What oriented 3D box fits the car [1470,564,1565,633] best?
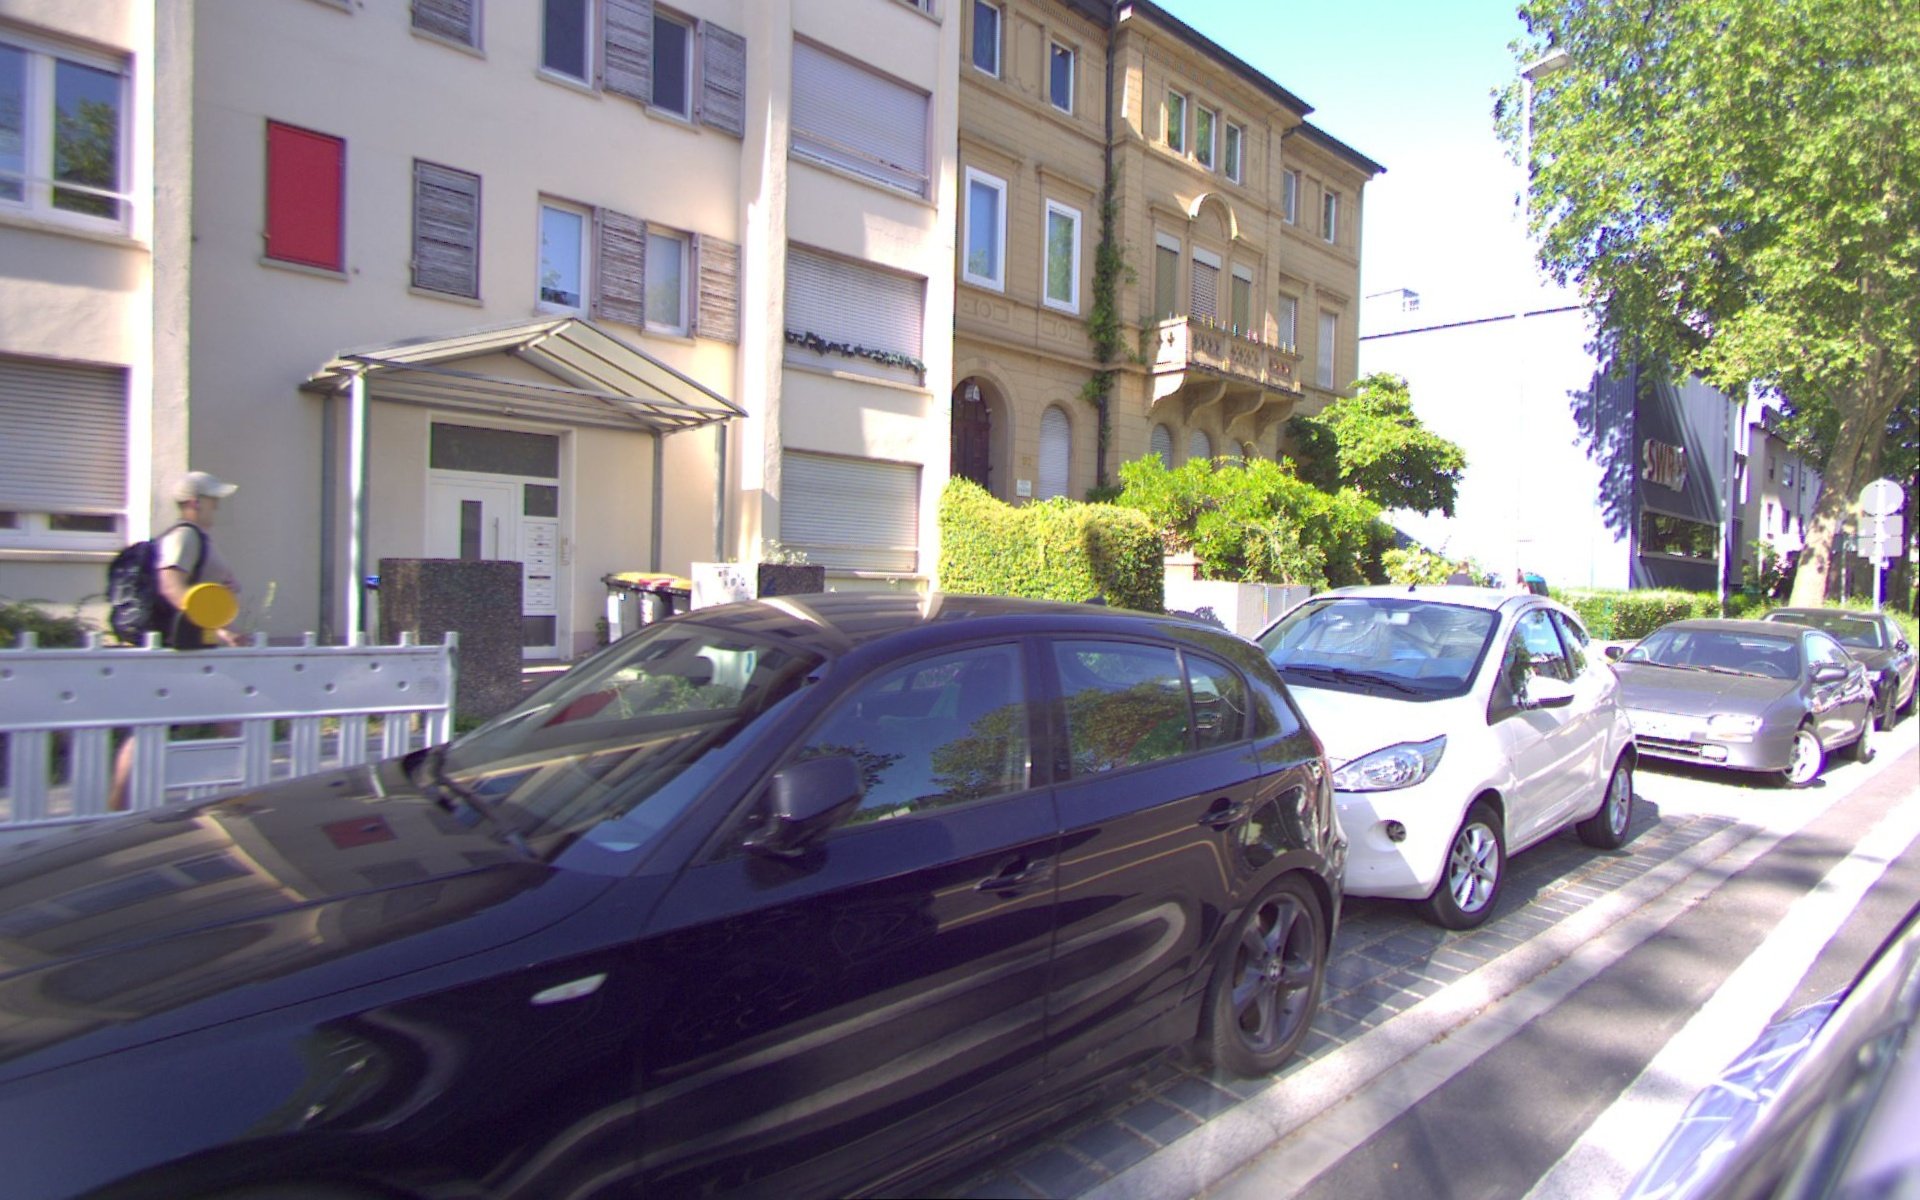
[{"bbox_3d":[16.408,-0.091,29.986,1.777,1.844,3.975,2,2,19],"label":"car"}]

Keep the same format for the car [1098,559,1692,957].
[{"bbox_3d":[2.641,0.596,5.752,3.668,1.504,1.623,0,3,-41],"label":"car"}]

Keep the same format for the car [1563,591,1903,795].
[{"bbox_3d":[7.354,0.692,9.493,3.977,1.430,1.720,0,3,-41],"label":"car"}]

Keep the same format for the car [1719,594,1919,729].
[{"bbox_3d":[12.073,0.717,13.864,4.398,1.429,1.720,0,4,-41],"label":"car"}]

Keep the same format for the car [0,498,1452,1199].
[{"bbox_3d":[-0.292,0.590,2.946,3.986,1.504,1.623,0,3,-41],"label":"car"}]

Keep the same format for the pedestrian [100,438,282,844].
[{"bbox_3d":[-3.905,0.177,5.134,0.682,1.872,0.666,0,2,-41],"label":"pedestrian"}]

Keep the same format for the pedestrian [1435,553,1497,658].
[{"bbox_3d":[9.092,0.086,18.177,0.788,1.818,0.698,1,1,-41],"label":"pedestrian"}]

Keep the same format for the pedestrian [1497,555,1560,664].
[{"bbox_3d":[9.764,0.153,17.383,0.702,1.818,0.698,1,1,-41],"label":"pedestrian"}]
